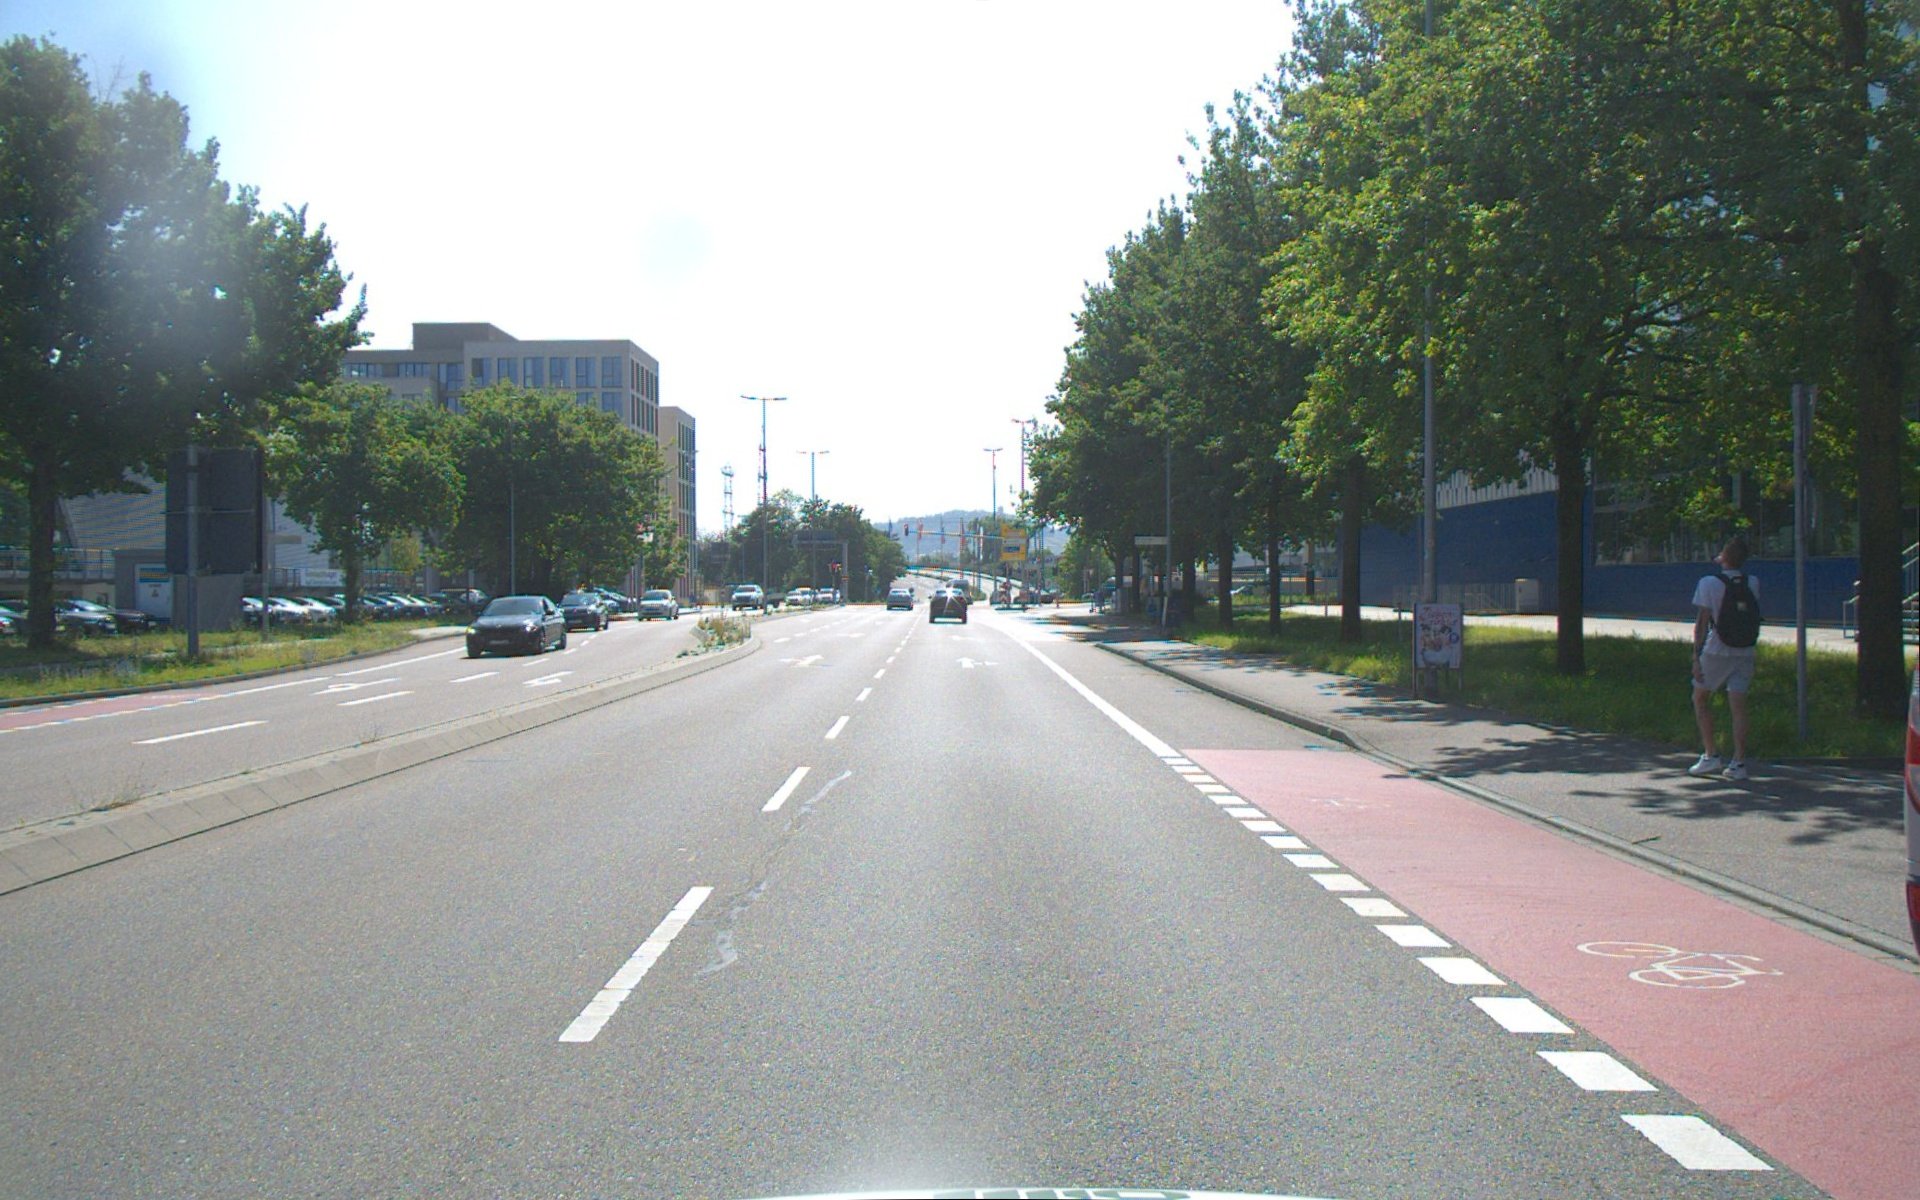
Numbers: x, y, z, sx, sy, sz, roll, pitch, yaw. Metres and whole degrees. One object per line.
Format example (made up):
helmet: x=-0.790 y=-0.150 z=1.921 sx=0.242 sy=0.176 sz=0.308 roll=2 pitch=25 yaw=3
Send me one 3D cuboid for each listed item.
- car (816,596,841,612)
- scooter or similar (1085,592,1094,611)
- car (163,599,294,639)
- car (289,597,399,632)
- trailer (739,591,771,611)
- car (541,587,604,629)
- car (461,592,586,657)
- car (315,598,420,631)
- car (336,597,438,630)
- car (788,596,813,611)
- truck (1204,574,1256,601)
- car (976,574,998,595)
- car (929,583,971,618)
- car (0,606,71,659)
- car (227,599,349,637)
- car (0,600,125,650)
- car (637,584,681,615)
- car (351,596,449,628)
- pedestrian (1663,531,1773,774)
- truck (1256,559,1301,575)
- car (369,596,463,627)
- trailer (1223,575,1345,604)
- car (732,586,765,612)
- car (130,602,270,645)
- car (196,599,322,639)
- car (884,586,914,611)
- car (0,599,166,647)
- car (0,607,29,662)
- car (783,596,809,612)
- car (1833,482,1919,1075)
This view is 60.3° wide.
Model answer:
car: x=-12.793 y=0.398 z=161.189 sx=1.777 sy=1.489 sz=4.002 roll=-1 pitch=0 yaw=4
scooter or similar: x=8.568 y=0.116 z=109.229 sx=0.343 sy=1.255 sz=1.312 roll=-1 pitch=0 yaw=13
car: x=-26.539 y=0.680 z=60.099 sx=3.905 sy=1.400 sz=1.865 roll=-1 pitch=0 yaw=0
car: x=-26.144 y=0.619 z=70.281 sx=3.905 sy=1.400 sz=1.924 roll=-1 pitch=0 yaw=0
trailer: x=-16.051 y=0.052 z=129.593 sx=1.953 sy=1.478 sz=5.770 roll=-1 pitch=0 yaw=-2
car: x=-14.460 y=0.299 z=61.890 sx=1.749 sy=1.439 sz=3.995 roll=-3 pitch=0 yaw=-6
car: x=-11.170 y=0.583 z=42.674 sx=1.803 sy=1.489 sz=5.000 roll=-3 pitch=0 yaw=0
car: x=-26.079 y=0.627 z=72.894 sx=3.905 sy=1.400 sz=1.924 roll=-1 pitch=0 yaw=0
car: x=-26.056 y=0.605 z=75.294 sx=3.905 sy=1.400 sz=1.924 roll=-1 pitch=0 yaw=0
car: x=-16.126 y=0.309 z=167.485 sx=1.777 sy=1.489 sz=4.002 roll=-1 pitch=0 yaw=4
truck: x=26.723 y=-1.213 z=163.834 sx=4.778 sy=2.466 sz=2.001 roll=2 pitch=1 yaw=3
car: x=2.512 y=-1.449 z=154.605 sx=1.722 sy=1.789 sz=3.601 roll=2 pitch=1 yaw=-3
car: x=-0.466 y=0.005 z=81.115 sx=1.769 sy=1.668 sz=4.461 roll=-1 pitch=0 yaw=3
car: x=-26.800 y=0.892 z=44.990 sx=4.177 sy=1.374 sz=1.954 roll=-1 pitch=0 yaw=2
car: x=-26.366 y=0.685 z=64.970 sx=3.959 sy=1.400 sz=2.025 roll=-1 pitch=0 yaw=0
car: x=-26.472 y=0.706 z=47.277 sx=4.177 sy=1.374 sz=1.954 roll=-1 pitch=0 yaw=2
car: x=-14.951 y=-0.036 z=82.309 sx=1.621 sy=1.489 sz=3.548 roll=-2 pitch=0 yaw=-3
car: x=-26.184 y=0.564 z=77.409 sx=3.905 sy=1.400 sz=1.924 roll=-1 pitch=0 yaw=0
pedestrian: x=6.009 y=0.405 z=13.145 sx=0.524 sy=1.874 sz=0.728 roll=-1 pitch=0 yaw=0
truck: x=43.365 y=-4.488 z=225.094 sx=5.787 sy=2.048 sz=2.001 roll=2 pitch=1 yaw=2
car: x=-26.411 y=0.557 z=80.333 sx=3.905 sy=1.400 sz=1.924 roll=-1 pitch=0 yaw=0
trailer: x=32.053 y=-1.074 z=163.631 sx=11.623 sy=2.512 sz=2.001 roll=2 pitch=1 yaw=3
car: x=-15.859 y=-0.099 z=124.256 sx=1.953 sy=1.864 sz=4.935 roll=-1 pitch=0 yaw=-2
car: x=-26.294 y=0.808 z=57.340 sx=3.905 sy=1.400 sz=2.000 roll=-1 pitch=0 yaw=0
car: x=-26.330 y=0.694 z=62.170 sx=3.905 sy=1.400 sz=1.865 roll=-1 pitch=0 yaw=0
car: x=-4.383 y=-0.112 z=119.461 sx=1.952 sy=1.713 sz=4.000 roll=-1 pitch=0 yaw=1
car: x=-26.432 y=0.683 z=49.688 sx=4.177 sy=1.374 sz=1.954 roll=-1 pitch=0 yaw=2
car: x=-26.613 y=0.905 z=42.596 sx=4.177 sy=1.374 sz=1.954 roll=-1 pitch=0 yaw=2
car: x=-15.889 y=0.343 z=160.136 sx=1.852 sy=1.489 sz=4.002 roll=-1 pitch=0 yaw=4
car: x=4.965 y=0.532 z=6.123 sx=4.148 sy=1.861 sz=1.881 roll=-1 pitch=0 yaw=-44
